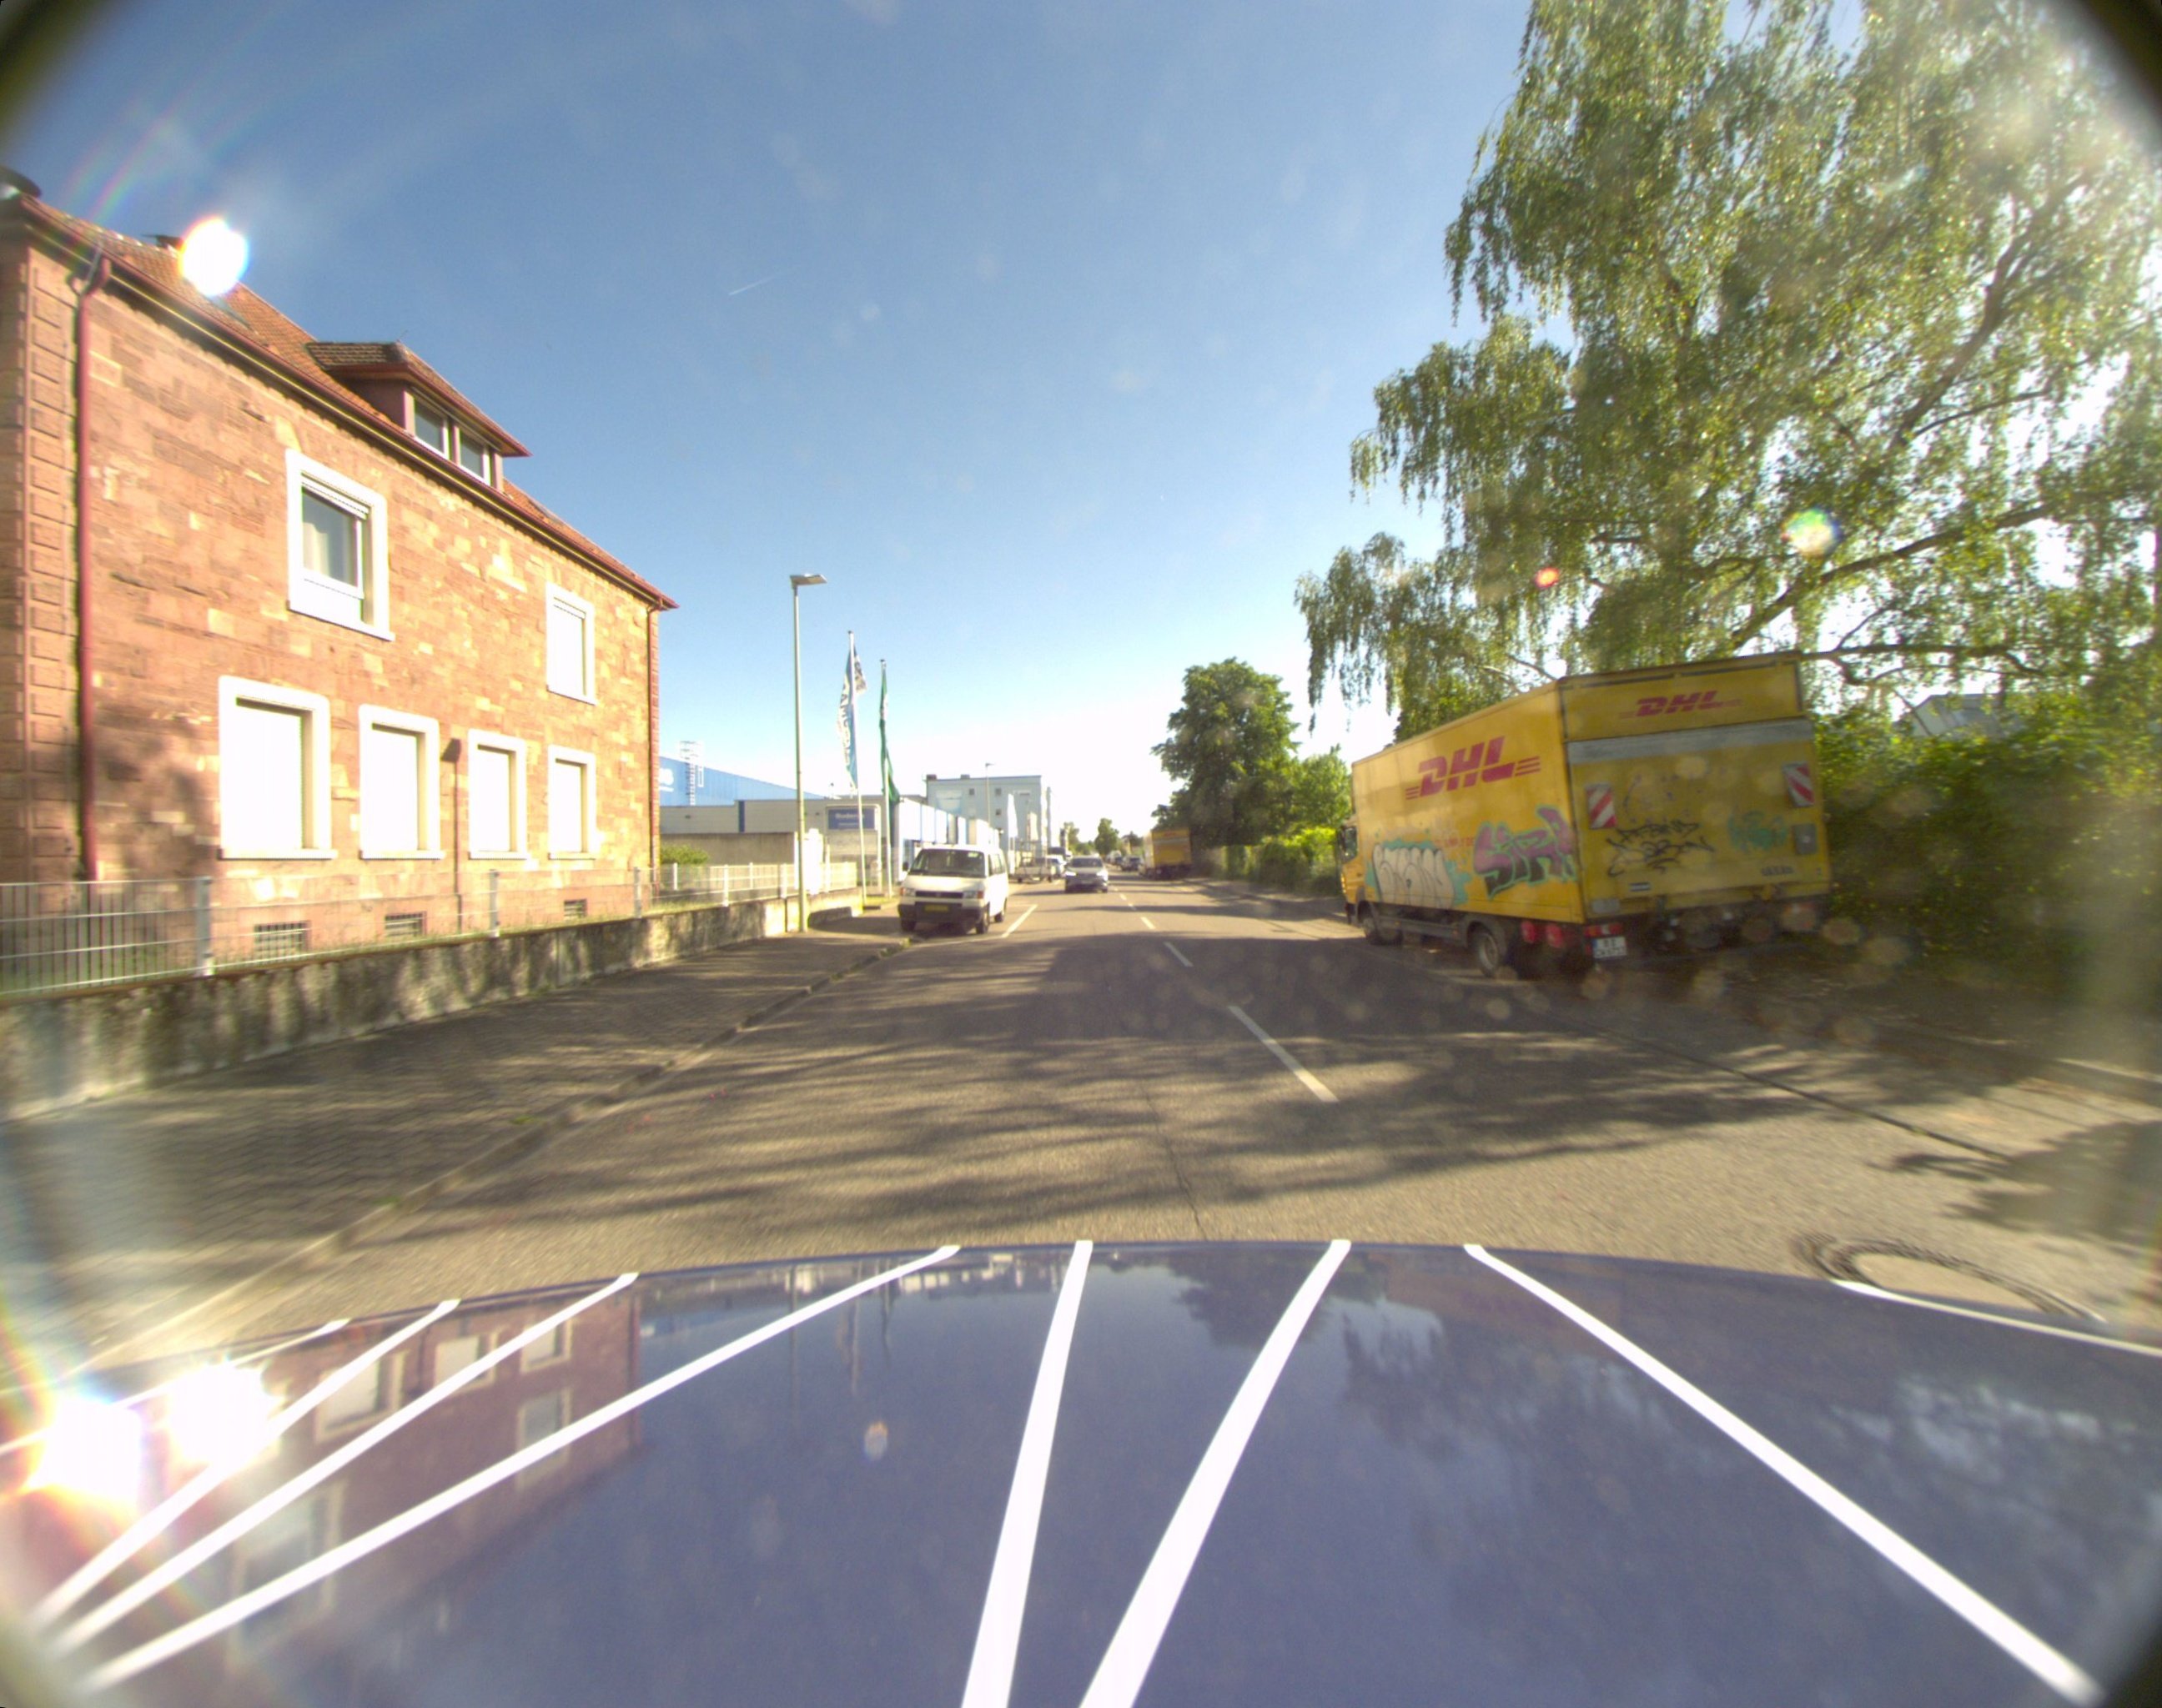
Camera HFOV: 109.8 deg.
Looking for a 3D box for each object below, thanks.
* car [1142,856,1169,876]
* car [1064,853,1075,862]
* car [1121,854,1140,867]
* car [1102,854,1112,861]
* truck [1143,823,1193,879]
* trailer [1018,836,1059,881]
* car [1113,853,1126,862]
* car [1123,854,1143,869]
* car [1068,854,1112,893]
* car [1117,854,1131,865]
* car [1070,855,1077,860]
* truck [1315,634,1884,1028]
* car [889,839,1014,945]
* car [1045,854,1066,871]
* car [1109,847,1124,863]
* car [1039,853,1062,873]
[{"bbox_3d":[6.304,0.987,64.412,1.850,1.621,4.295,0,0,0],"label":"car"},{"bbox_3d":[-1.946,0.574,127.974,1.850,1.621,4.295,0,0,0],"label":"car"},{"bbox_3d":[6.081,0.800,93.277,1.850,1.621,4.294,0,0,-2],"label":"car"},{"bbox_3d":[6.308,0.886,186.224,1.851,1.621,4.293,0,0,-6],"label":"car"},{"bbox_3d":[6.247,-0.191,55.497,2.796,3.736,7.897,0,0,0],"label":"truck"},{"bbox_3d":[-2.640,0.292,48.345,2.161,2.701,4.198,0,0,2],"label":"trailer"},{"bbox_3d":[6.825,0.630,135.128,1.850,1.621,4.294,0,0,-2],"label":"car"},{"bbox_3d":[5.909,0.847,86.630,1.850,1.621,4.294,0,0,-2],"label":"car"},{"bbox_3d":[0.423,0.824,33.890,1.850,1.621,4.295,0,0,1],"label":"car"},{"bbox_3d":[6.469,0.858,114.645,1.850,1.621,4.294,0,0,-2],"label":"car"},{"bbox_3d":[-2.189,0.974,223.164,1.851,1.621,4.293,0,0,-4],"label":"car"},{"bbox_3d":[6.303,-0.209,11.425,2.848,3.598,8.007,-5,0,0],"label":"truck"},{"bbox_3d":[-2.797,0.768,17.570,1.850,2.002,4.715,-4,0,1],"label":"car"},{"bbox_3d":[-2.416,0.772,73.412,1.850,1.621,4.295,0,0,0],"label":"car"},{"bbox_3d":[6.871,0.168,148.367,2.173,2.974,6.339,0,0,-4],"label":"car"},{"bbox_3d":[-2.615,0.793,66.262,1.850,1.695,4.295,0,0,0],"label":"car"}]
